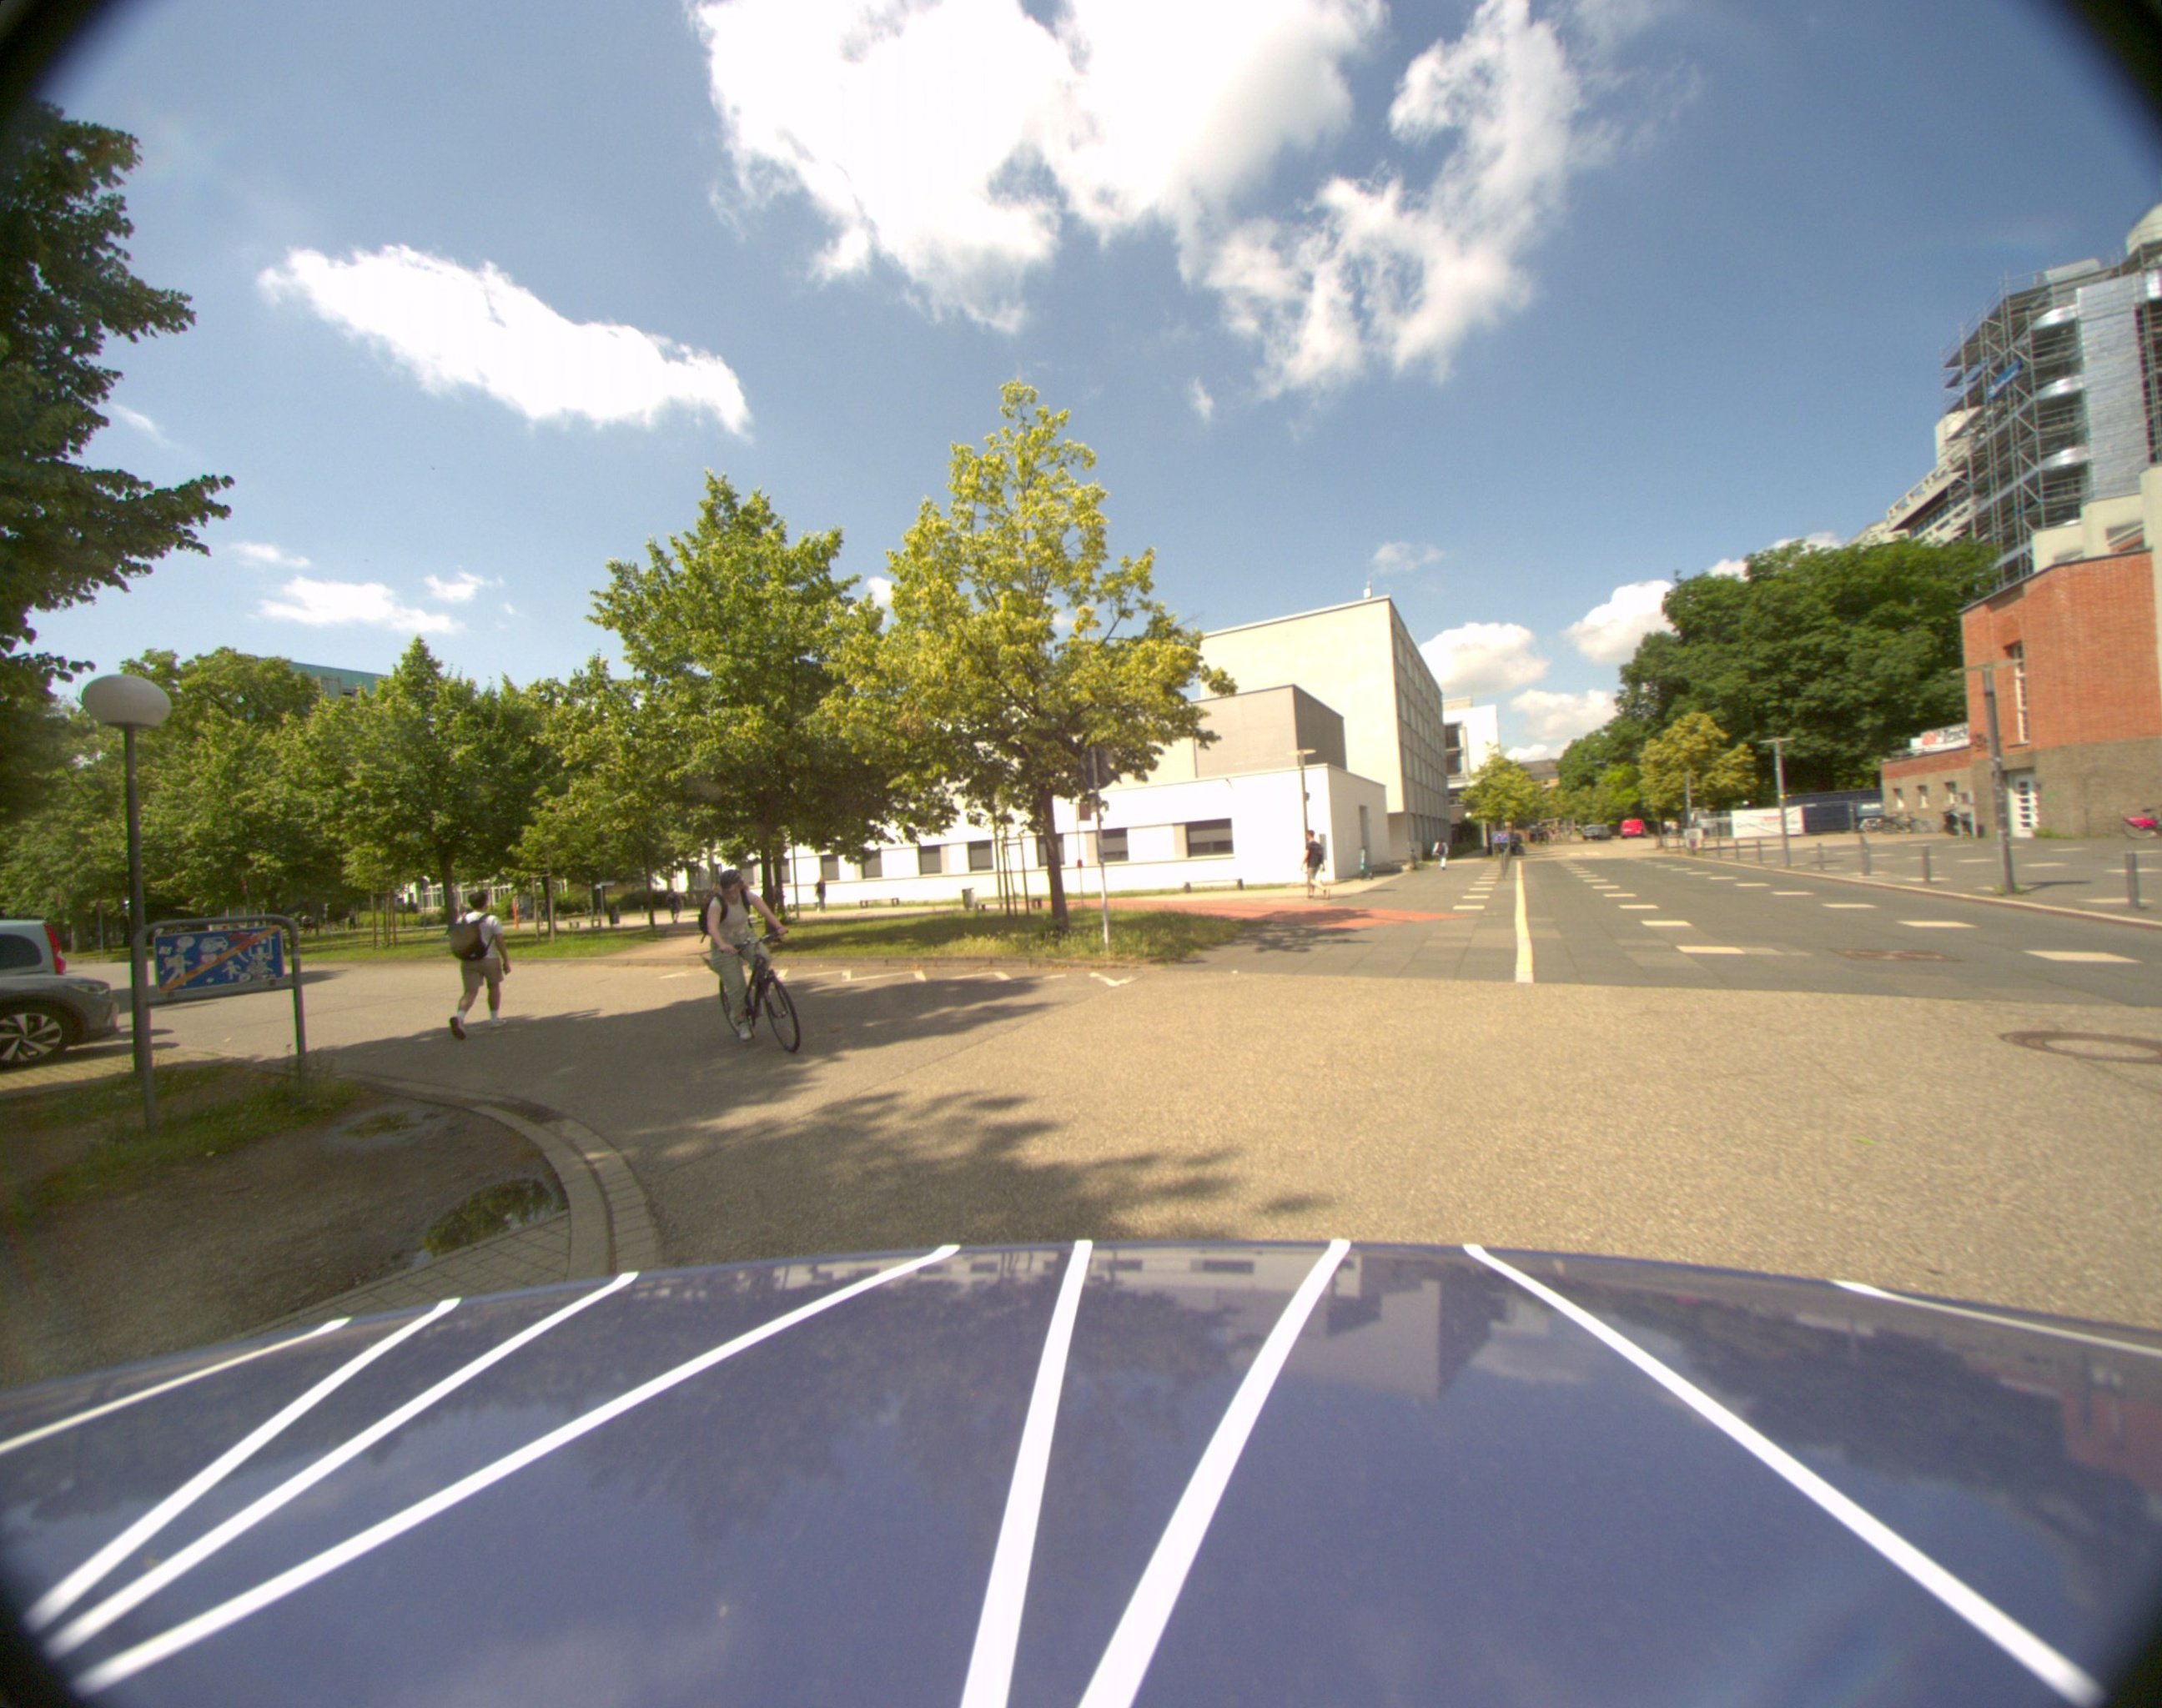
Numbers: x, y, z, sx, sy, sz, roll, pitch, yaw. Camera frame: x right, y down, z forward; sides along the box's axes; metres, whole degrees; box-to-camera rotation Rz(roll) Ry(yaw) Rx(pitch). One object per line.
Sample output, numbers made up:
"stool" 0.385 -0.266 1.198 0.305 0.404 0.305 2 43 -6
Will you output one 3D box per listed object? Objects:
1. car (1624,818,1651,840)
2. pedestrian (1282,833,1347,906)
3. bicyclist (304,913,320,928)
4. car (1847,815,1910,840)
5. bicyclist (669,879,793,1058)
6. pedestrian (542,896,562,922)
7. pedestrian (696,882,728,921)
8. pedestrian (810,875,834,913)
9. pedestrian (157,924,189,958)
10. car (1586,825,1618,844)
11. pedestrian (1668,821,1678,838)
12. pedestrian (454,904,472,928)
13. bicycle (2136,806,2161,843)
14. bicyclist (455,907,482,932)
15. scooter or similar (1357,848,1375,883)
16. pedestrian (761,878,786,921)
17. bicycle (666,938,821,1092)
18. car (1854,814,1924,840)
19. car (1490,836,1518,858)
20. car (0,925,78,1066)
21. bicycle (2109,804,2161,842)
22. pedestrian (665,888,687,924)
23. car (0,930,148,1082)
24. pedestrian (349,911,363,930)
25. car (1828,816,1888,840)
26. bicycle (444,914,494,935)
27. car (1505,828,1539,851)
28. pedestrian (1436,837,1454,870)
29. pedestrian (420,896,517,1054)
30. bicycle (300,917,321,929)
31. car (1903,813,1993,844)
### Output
"car" 53.253 -2.370 72.704 1.909 1.870 4.008 -4 -1 37
"pedestrian" 5.993 0.381 19.500 1.023 1.789 1.169 -2 1 -31
"bicyclist" -72.247 6.270 71.360 0.826 1.325 0.780 -4 0 29
"car" 43.719 -1.448 41.706 2.285 1.173 0.525 -4 0 32
"bicyclist" -3.285 1.006 7.095 0.676 1.470 1.060 -6 2 -40
"pedestrian" -35.347 3.660 50.757 0.801 1.639 0.851 -4 0 40
"pedestrian" -17.463 2.237 35.969 1.092 1.765 0.796 -4 0 35
"pedestrian" -11.963 1.854 35.091 0.723 1.678 0.630 -4 0 29
"pedestrian" -42.610 4.067 35.669 0.633 1.479 0.798 -4 0 29
"car" 65.808 -2.469 95.983 4.440 2.079 2.022 -3 -1 -39
"pedestrian" 55.655 -2.327 71.399 0.642 1.529 0.454 -4 0 41
"pedestrian" -45.949 4.582 56.483 0.633 1.712 0.798 -4 0 29
"bicycle" 31.144 -0.890 21.180 1.952 1.024 0.519 -4 0 29
"bicyclist" -33.464 3.563 41.534 0.796 1.252 0.903 -4 0 35
"scooter or similar" 10.328 0.412 27.513 0.326 1.228 1.075 -4 0 33
"pedestrian" -13.150 1.934 32.517 0.711 1.759 0.829 -4 0 -10
"bicycle" -3.225 1.405 7.121 0.676 1.066 2.131 -6 1 -40
"car" 42.731 -1.409 40.200 2.364 1.173 0.796 -4 0 32
"car" 29.427 -0.483 52.898 1.549 1.377 3.460 -4 0 28
"car" -16.054 2.028 9.454 1.820 1.827 4.007 -4 0 28
"bicycle" 31.570 -0.943 22.061 1.952 1.024 0.543 -4 0 29
"pedestrian" -19.250 2.448 36.094 0.727 1.647 0.714 -4 0 -20
"car" -13.874 1.883 8.263 1.891 1.642 4.370 -4 -1 28
"pedestrian" -64.346 5.921 67.432 0.761 1.619 0.597 -4 0 29
"car" 44.851 -1.497 43.891 2.321 1.173 0.480 -4 0 32
"bicycle" -33.437 3.836 41.545 0.796 0.912 1.950 -4 0 35
"car" 34.631 -1.150 59.644 1.936 1.671 3.475 -3 0 35
"pedestrian" 15.893 -0.027 33.180 0.524 1.430 0.702 -4 0 33
"pedestrian" -7.260 1.400 9.015 0.581 1.734 0.643 -4 0 32
"bicycle" -72.510 6.509 71.512 2.144 1.026 0.780 -4 0 29
"car" 38.301 -1.111 33.612 2.523 1.173 0.633 -4 0 32
